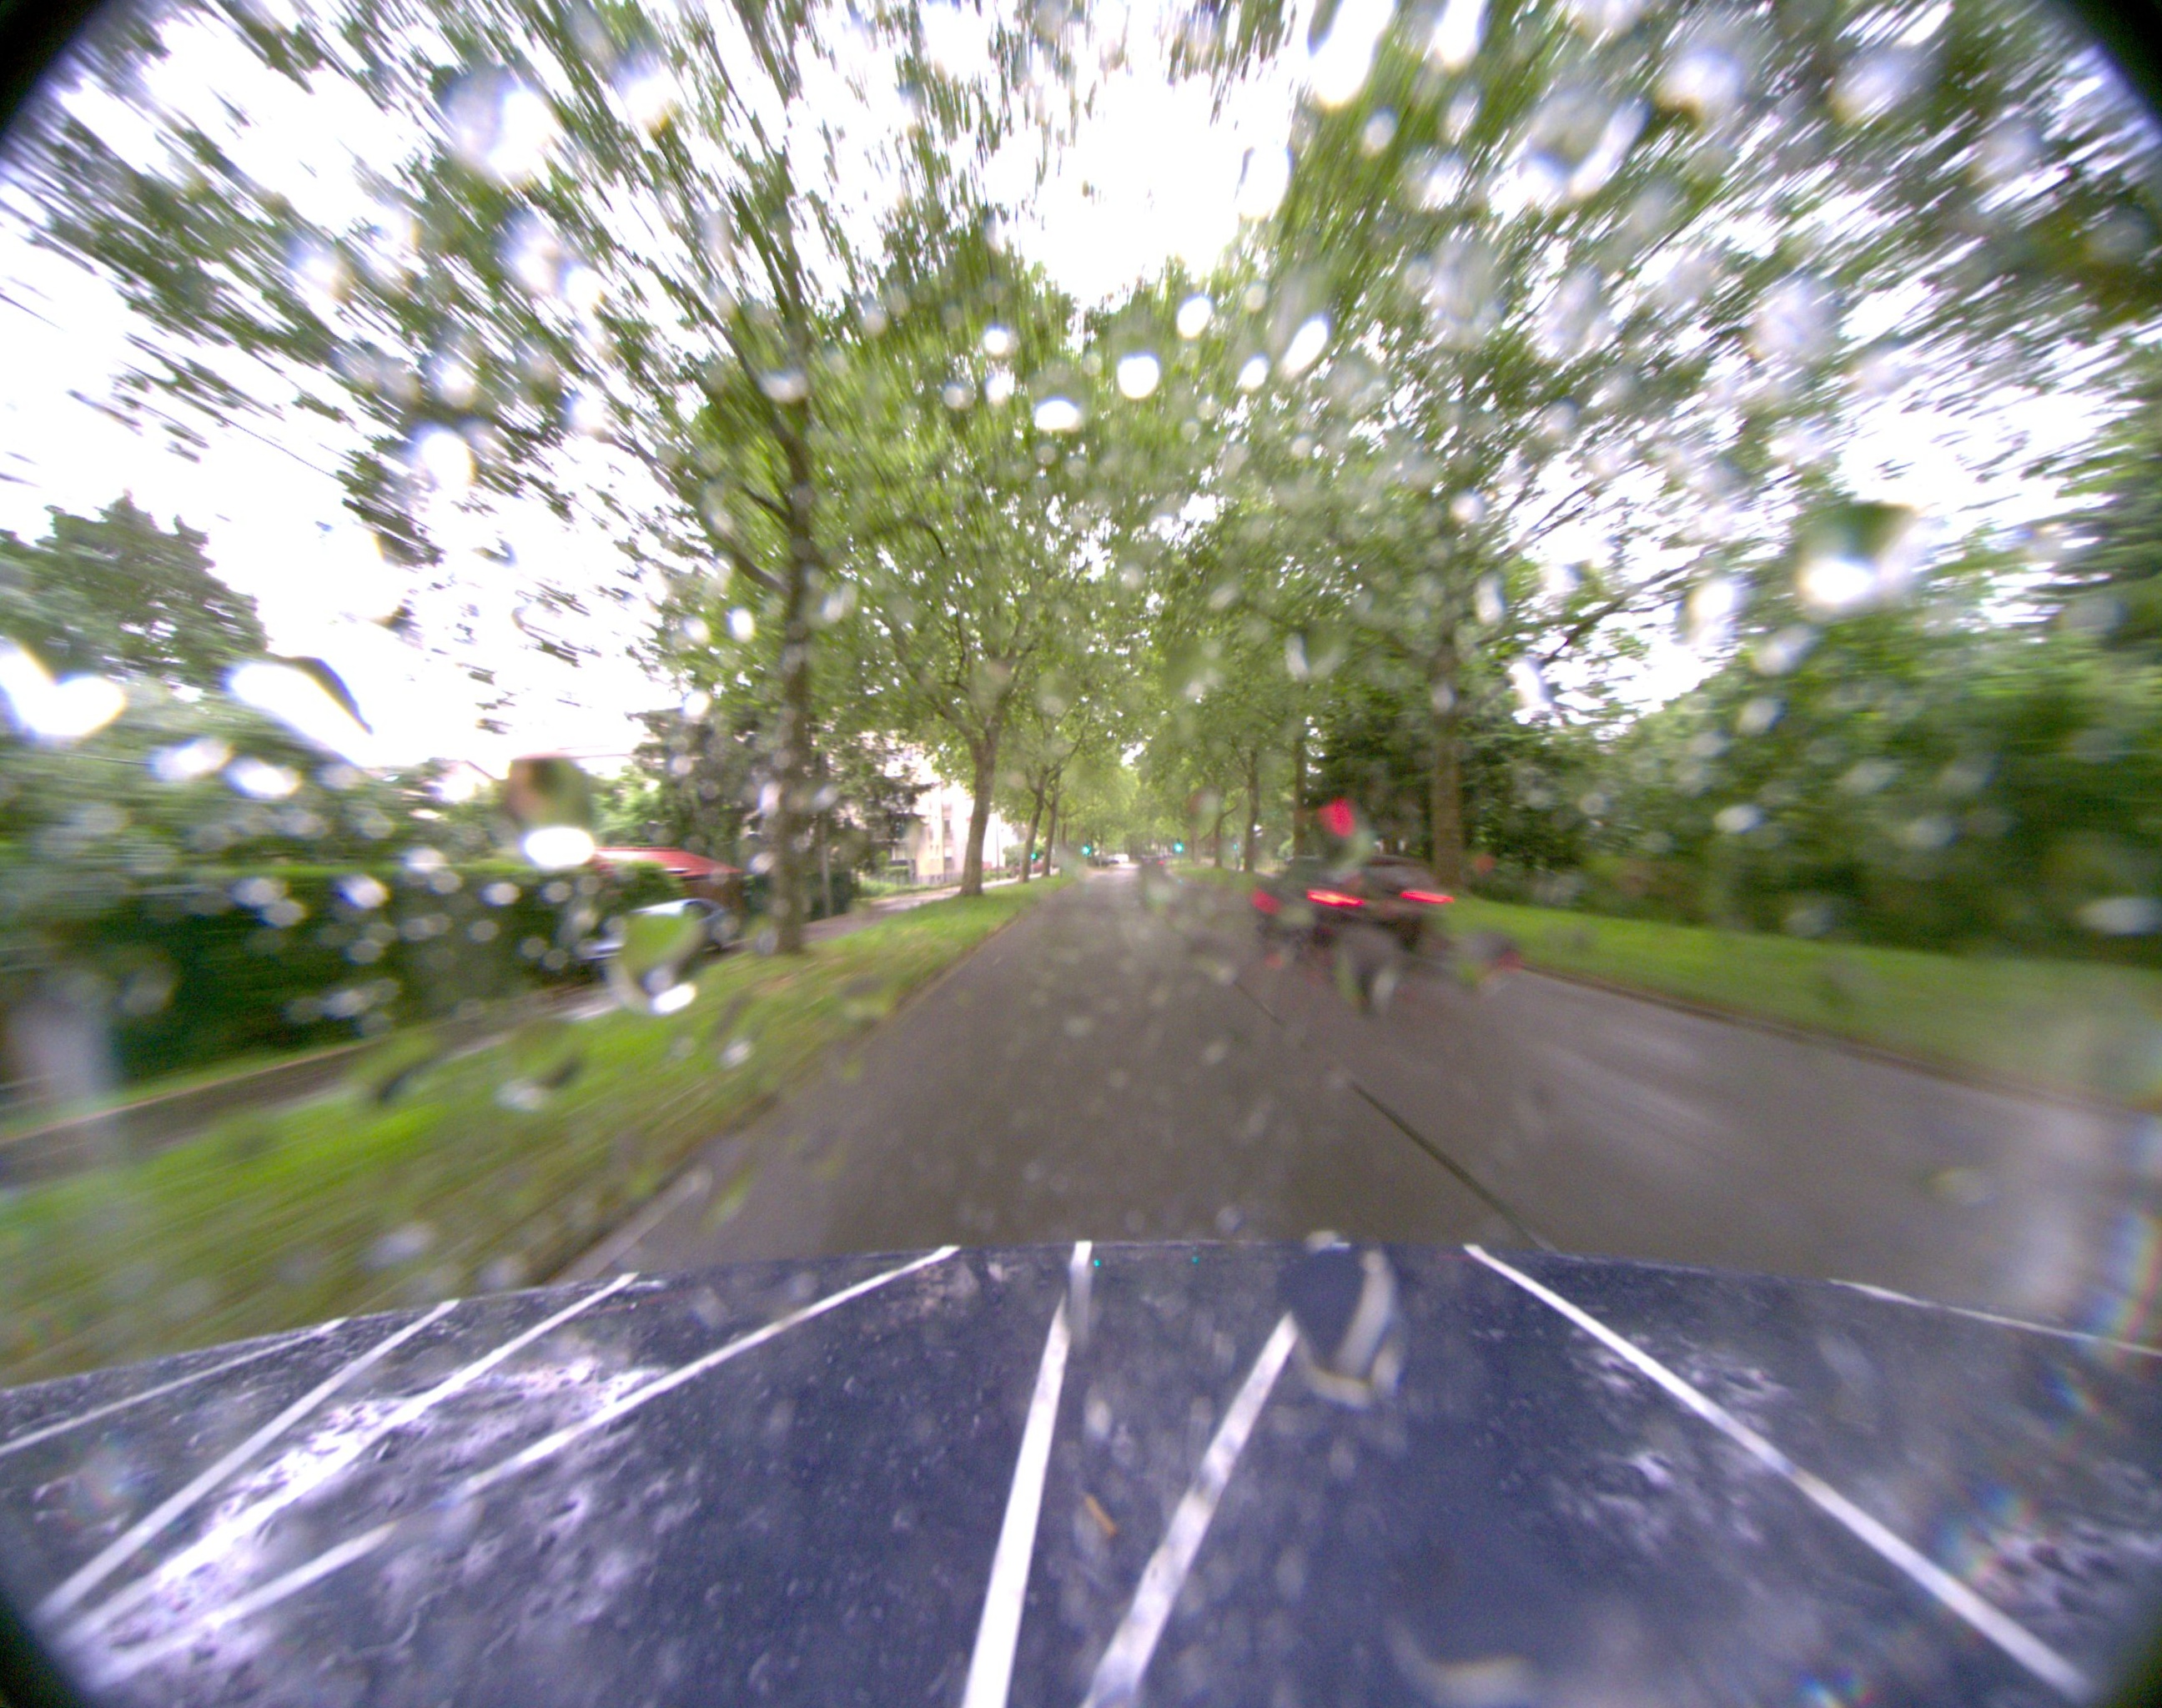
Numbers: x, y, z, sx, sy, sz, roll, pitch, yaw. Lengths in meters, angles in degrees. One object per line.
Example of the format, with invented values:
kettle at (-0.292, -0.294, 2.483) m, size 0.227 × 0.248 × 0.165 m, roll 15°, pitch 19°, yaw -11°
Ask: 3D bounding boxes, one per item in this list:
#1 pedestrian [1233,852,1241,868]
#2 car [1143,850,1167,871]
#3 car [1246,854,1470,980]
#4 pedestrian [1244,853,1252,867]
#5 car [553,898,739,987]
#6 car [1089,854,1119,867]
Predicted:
pedestrian at (14.204, 0.514, 69.242) m, size 0.599 × 1.445 × 0.857 m, roll -2°, pitch 1°, yaw 4°
car at (6.510, 0.540, 67.104) m, size 1.813 × 1.718 × 4.455 m, roll -2°, pitch 0°, yaw 2°
car at (3.880, 0.787, 11.444) m, size 1.850 × 1.493 × 3.999 m, roll -2°, pitch 0°, yaw -1°
pedestrian at (15.187, 0.571, 69.202) m, size 0.517 × 1.254 × 0.849 m, roll -2°, pitch 1°, yaw 4°
car at (-9.464, 1.851, 16.971) m, size 1.800 × 1.317 × 3.999 m, roll -6°, pitch 1°, yaw -2°
car at (3.442, 0.969, 112.324) m, size 4.262 × 1.845 × 1.892 m, roll -2°, pitch 0°, yaw 2°
